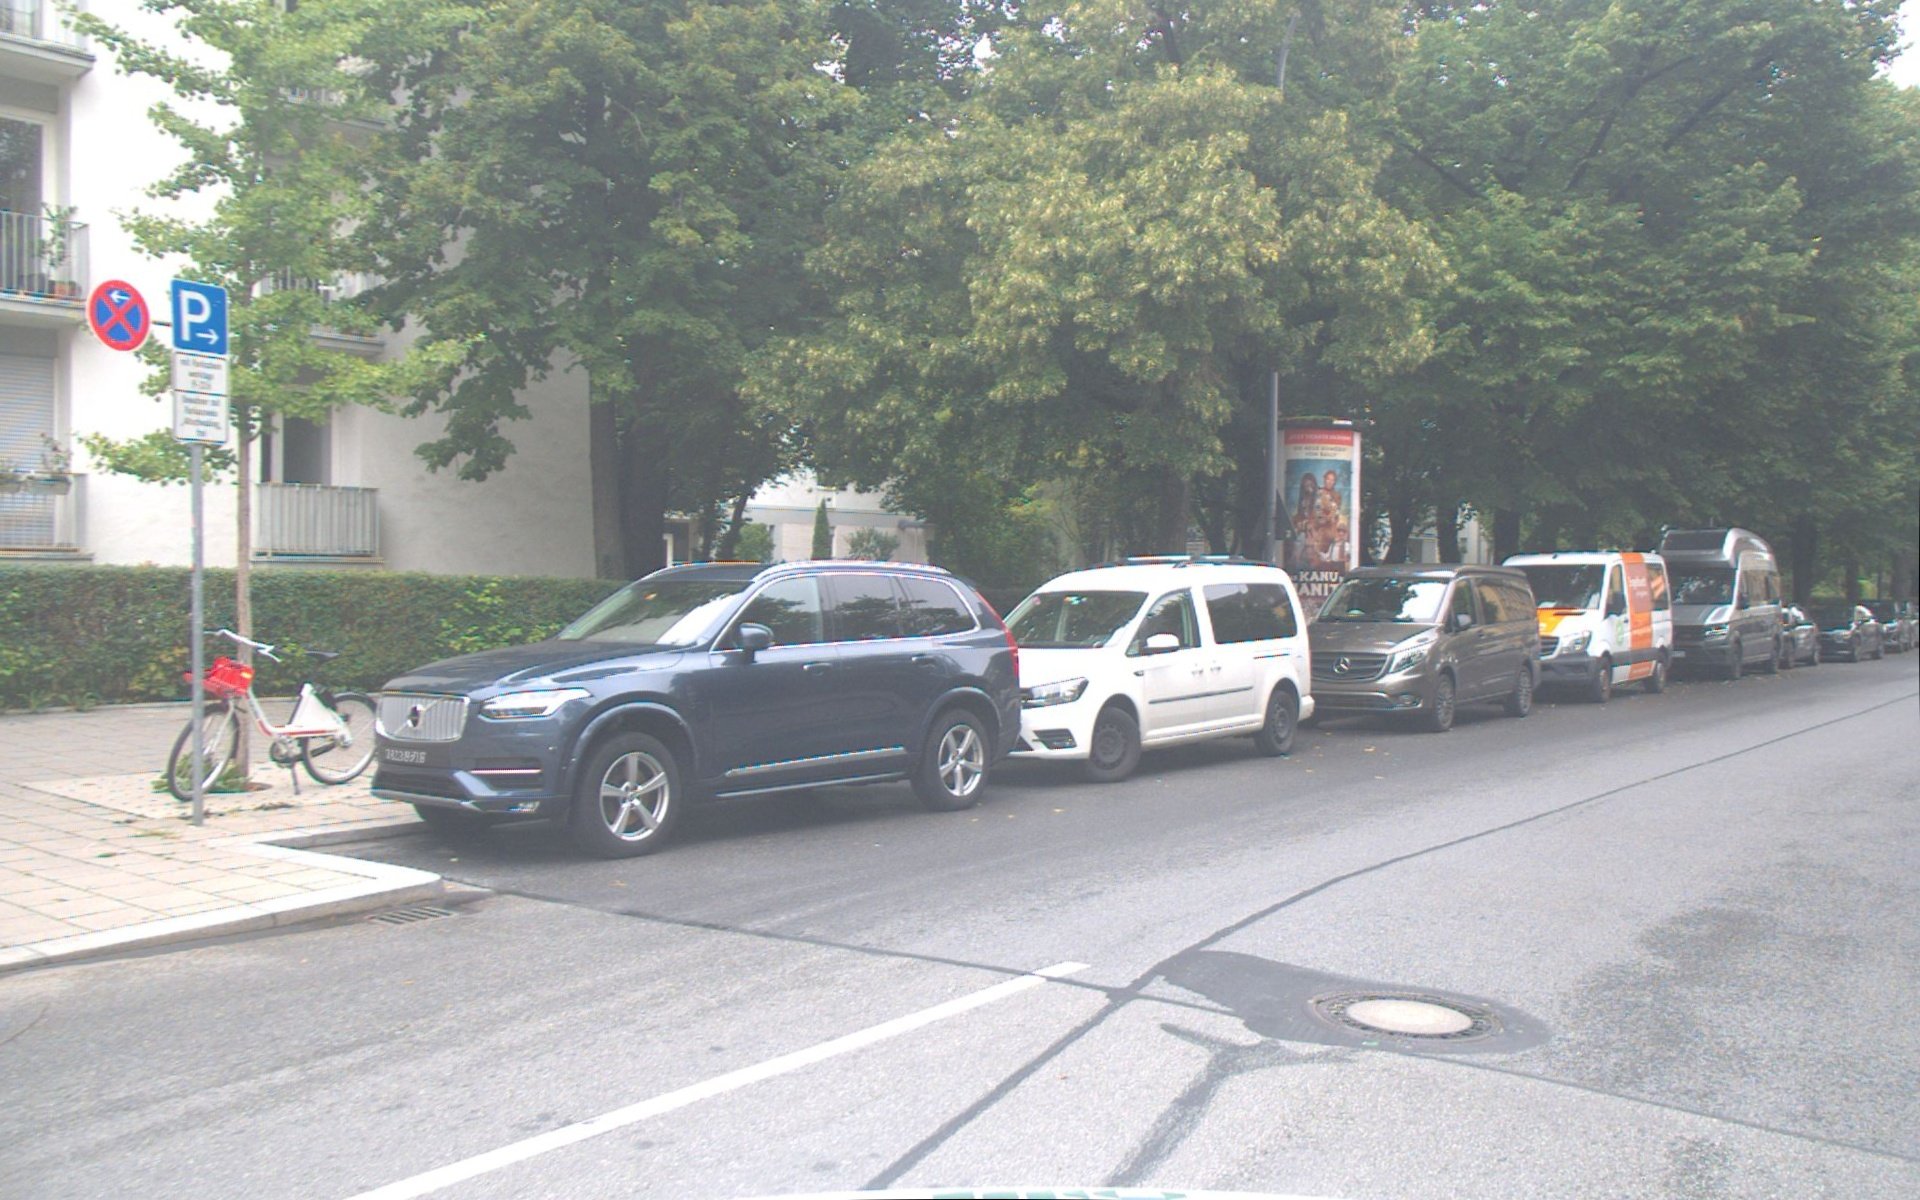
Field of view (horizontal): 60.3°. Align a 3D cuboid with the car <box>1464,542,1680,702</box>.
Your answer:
[{"bbox_3d":[9.933,0.316,26.583,1.914,2.312,5.222,0,0,36],"label":"car"}]

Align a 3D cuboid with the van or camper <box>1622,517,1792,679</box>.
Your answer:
[{"bbox_3d":[15.306,-0.030,33.695,1.967,2.996,5.986,0,0,36],"label":"van or camper"}]

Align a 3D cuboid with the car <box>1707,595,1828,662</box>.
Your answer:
[{"bbox_3d":[18.834,0.629,38.496,1.843,1.441,3.984,1,1,36],"label":"car"}]

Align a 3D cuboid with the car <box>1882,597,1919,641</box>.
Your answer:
[{"bbox_3d":[33.975,0.649,58.571,1.822,1.499,3.984,1,1,36],"label":"car"}]

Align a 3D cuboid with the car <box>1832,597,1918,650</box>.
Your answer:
[{"bbox_3d":[27.502,0.676,49.659,1.821,1.499,3.985,1,1,35],"label":"car"}]

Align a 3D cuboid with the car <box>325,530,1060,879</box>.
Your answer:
[{"bbox_3d":[-1.527,0.549,11.200,1.962,1.823,4.889,0,0,39],"label":"car"}]

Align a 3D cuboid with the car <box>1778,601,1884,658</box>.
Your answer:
[{"bbox_3d":[22.492,0.720,42.651,1.843,1.371,3.984,1,1,36],"label":"car"}]

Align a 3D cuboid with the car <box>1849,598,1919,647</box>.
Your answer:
[{"bbox_3d":[30.310,0.711,53.916,1.822,1.499,3.984,1,1,36],"label":"car"}]

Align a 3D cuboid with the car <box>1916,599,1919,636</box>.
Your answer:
[{"bbox_3d":[39.868,0.705,66.741,1.822,1.499,3.984,1,1,36],"label":"car"}]

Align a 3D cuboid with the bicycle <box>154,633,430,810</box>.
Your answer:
[{"bbox_3d":[-4.560,0.791,11.424,0.481,1.067,1.825,1,1,33],"label":"bicycle"}]

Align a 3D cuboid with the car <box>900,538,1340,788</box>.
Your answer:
[{"bbox_3d":[1.664,0.491,15.380,1.800,1.952,4.827,0,0,38],"label":"car"}]

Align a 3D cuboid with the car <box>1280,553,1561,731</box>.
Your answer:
[{"bbox_3d":[5.946,0.465,20.873,1.855,1.967,5.191,0,0,34],"label":"car"}]
